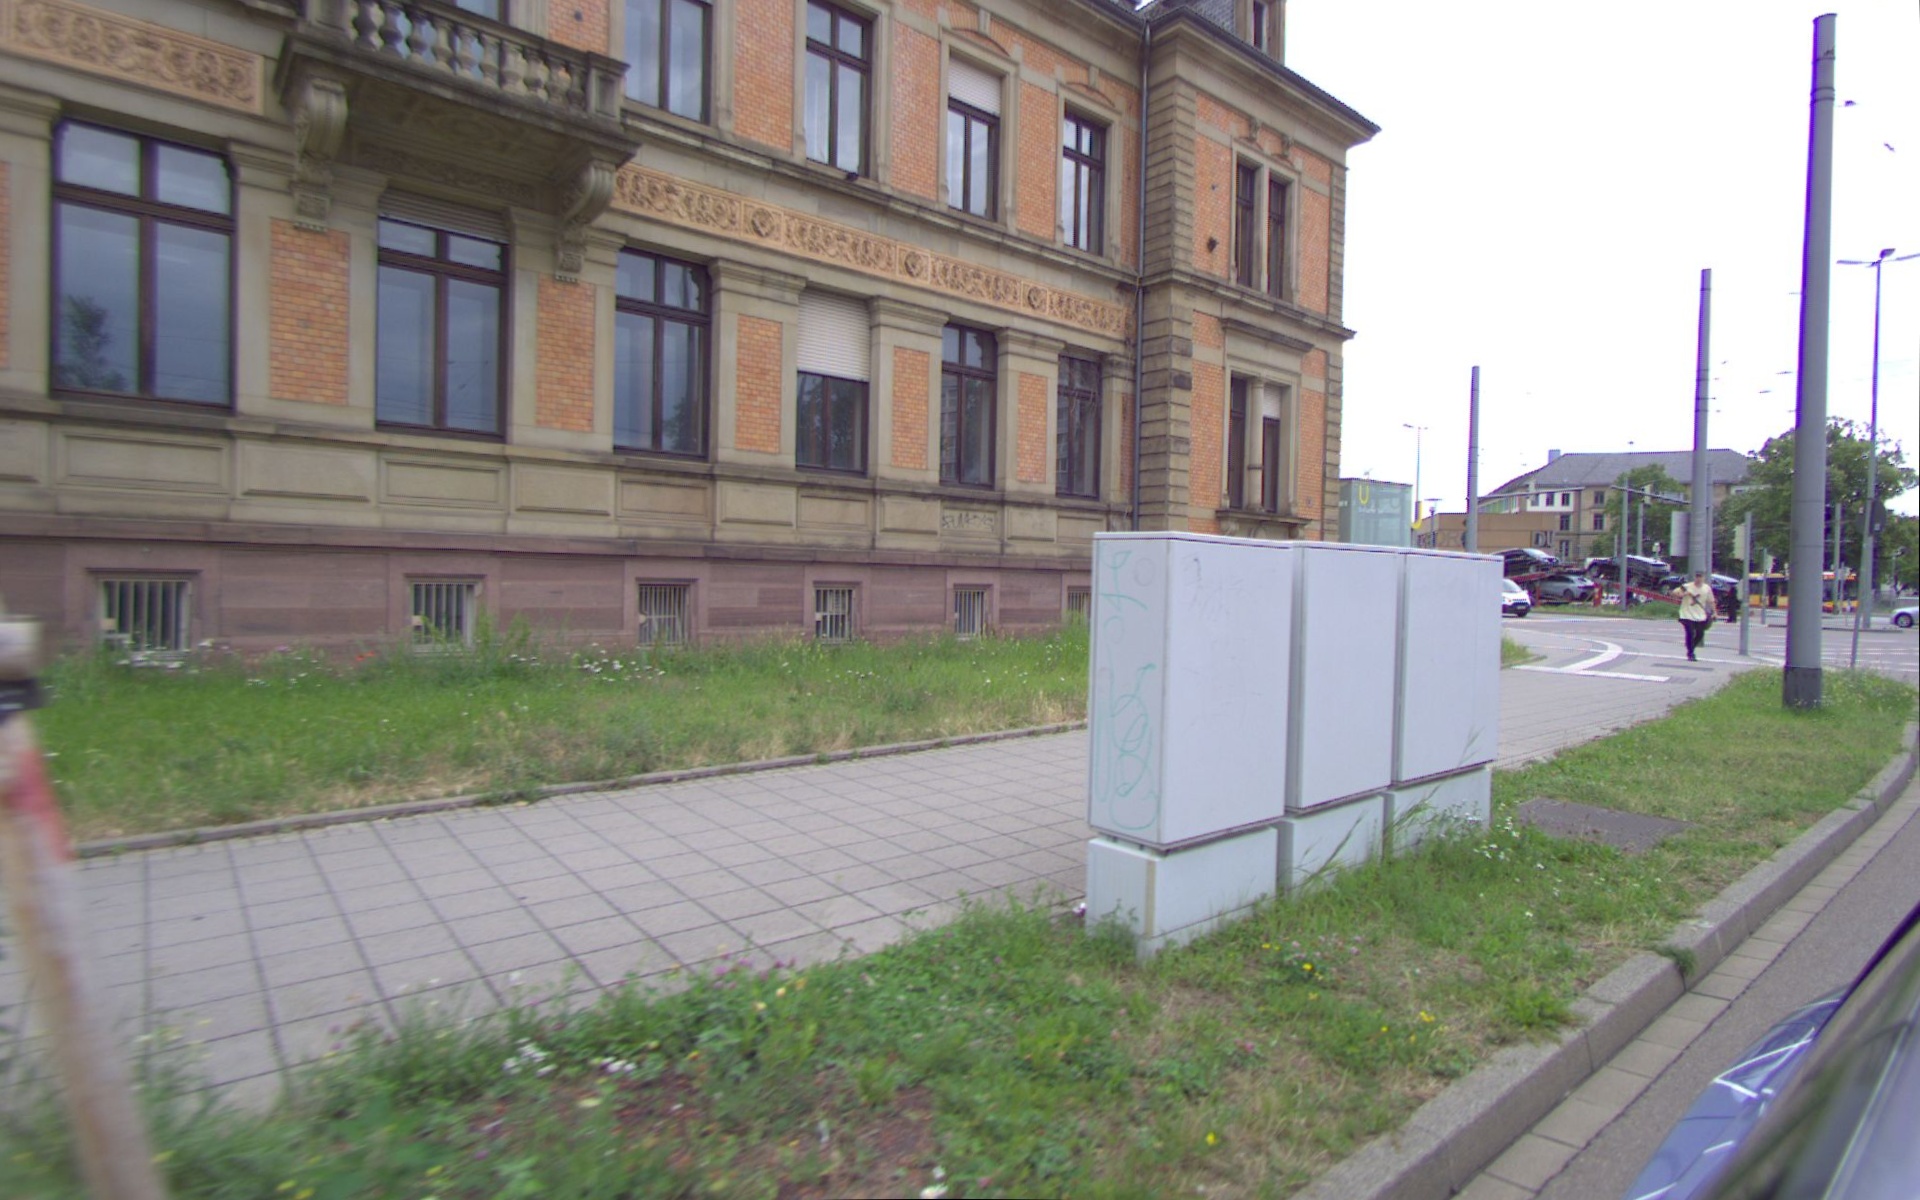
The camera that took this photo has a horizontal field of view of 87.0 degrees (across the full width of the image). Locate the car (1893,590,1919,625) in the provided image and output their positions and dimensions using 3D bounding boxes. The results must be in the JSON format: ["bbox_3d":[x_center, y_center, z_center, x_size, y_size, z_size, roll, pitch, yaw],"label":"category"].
[{"bbox_3d":[43.910,0.389,43.847,1.958,1.512,4.688,3,-1,-22],"label":"car"}]

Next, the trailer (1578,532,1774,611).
[{"bbox_3d":[39.718,-1.615,56.754,2.934,4.022,9.573,0,2,-10],"label":"trailer"}]

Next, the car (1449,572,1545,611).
[{"bbox_3d":[28.141,-0.482,53.233,1.958,1.966,4.533,1,1,-13],"label":"car"}]

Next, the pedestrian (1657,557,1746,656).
[{"bbox_3d":[14.806,0.107,20.251,0.873,1.890,1.284,1,1,8],"label":"pedestrian"}]

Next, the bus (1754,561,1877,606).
[{"bbox_3d":[64.309,-1.309,76.491,2.827,3.115,11.950,0,2,19],"label":"bus"}]

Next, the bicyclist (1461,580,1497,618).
[{"bbox_3d":[21.525,-0.039,41.971,1.078,1.539,0.762,1,1,-14],"label":"bicyclist"}]

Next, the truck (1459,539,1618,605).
[{"bbox_3d":[37.746,-1.869,66.700,2.952,3.968,10.478,0,2,-11],"label":"truck"}]

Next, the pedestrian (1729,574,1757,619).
[{"bbox_3d":[35.407,-0.160,45.785,0.774,1.967,0.972,2,1,28],"label":"pedestrian"}]

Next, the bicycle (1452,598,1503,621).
[{"bbox_3d":[21.450,0.405,41.946,1.788,0.850,0.769,3,1,-14],"label":"bicycle"}]

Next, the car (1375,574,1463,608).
[{"bbox_3d":[27.305,-0.556,60.365,2.046,1.872,4.763,1,1,-18],"label":"car"}]
